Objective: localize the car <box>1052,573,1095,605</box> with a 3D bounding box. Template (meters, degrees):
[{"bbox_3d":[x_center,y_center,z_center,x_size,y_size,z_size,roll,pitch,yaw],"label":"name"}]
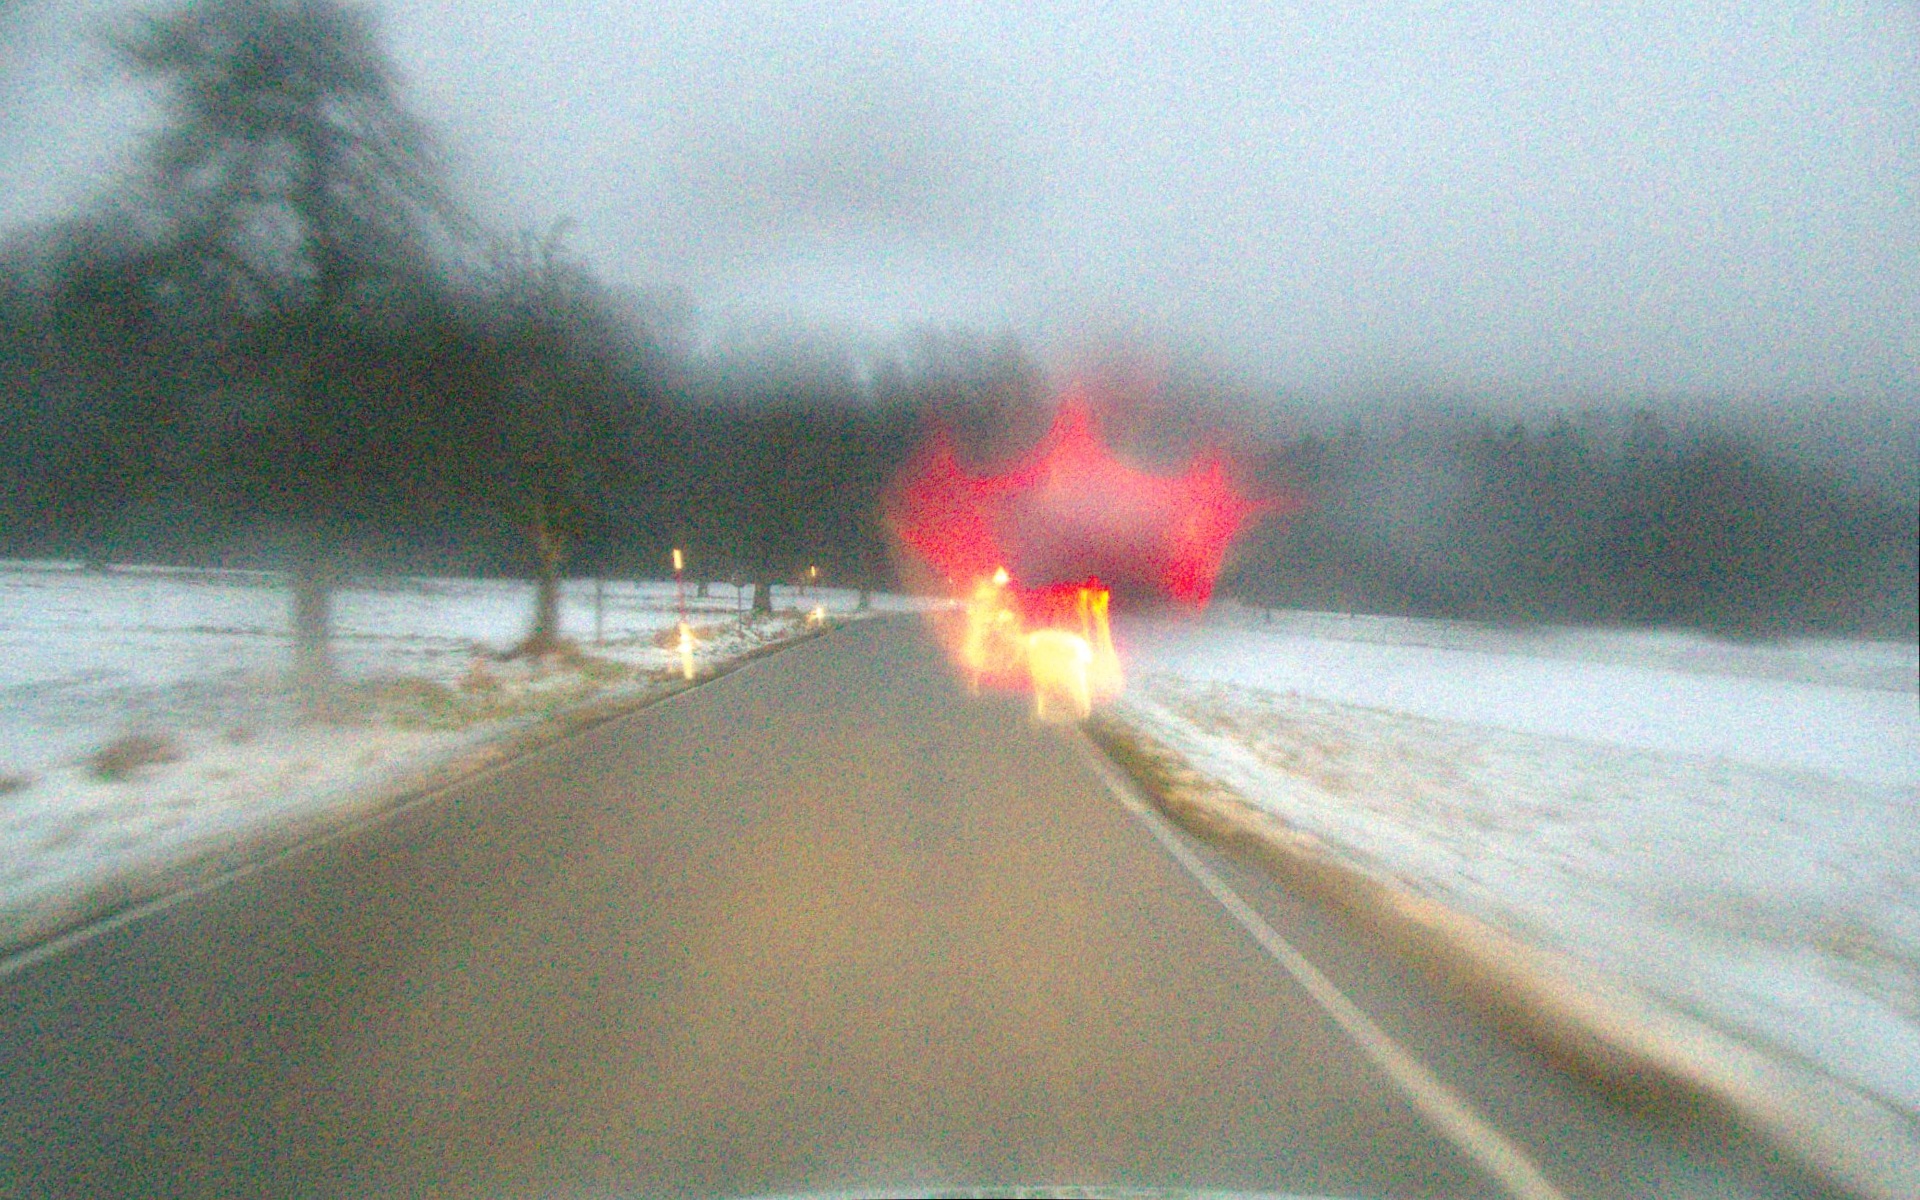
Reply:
[{"bbox_3d":[9.746,-0.964,141.941,2.206,2.691,5.006,2,1,22],"label":"car"}]

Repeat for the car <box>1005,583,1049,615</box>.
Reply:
[{"bbox_3d":[4.767,-0.067,117.349,1.952,2.087,4.001,3,1,20],"label":"car"}]
